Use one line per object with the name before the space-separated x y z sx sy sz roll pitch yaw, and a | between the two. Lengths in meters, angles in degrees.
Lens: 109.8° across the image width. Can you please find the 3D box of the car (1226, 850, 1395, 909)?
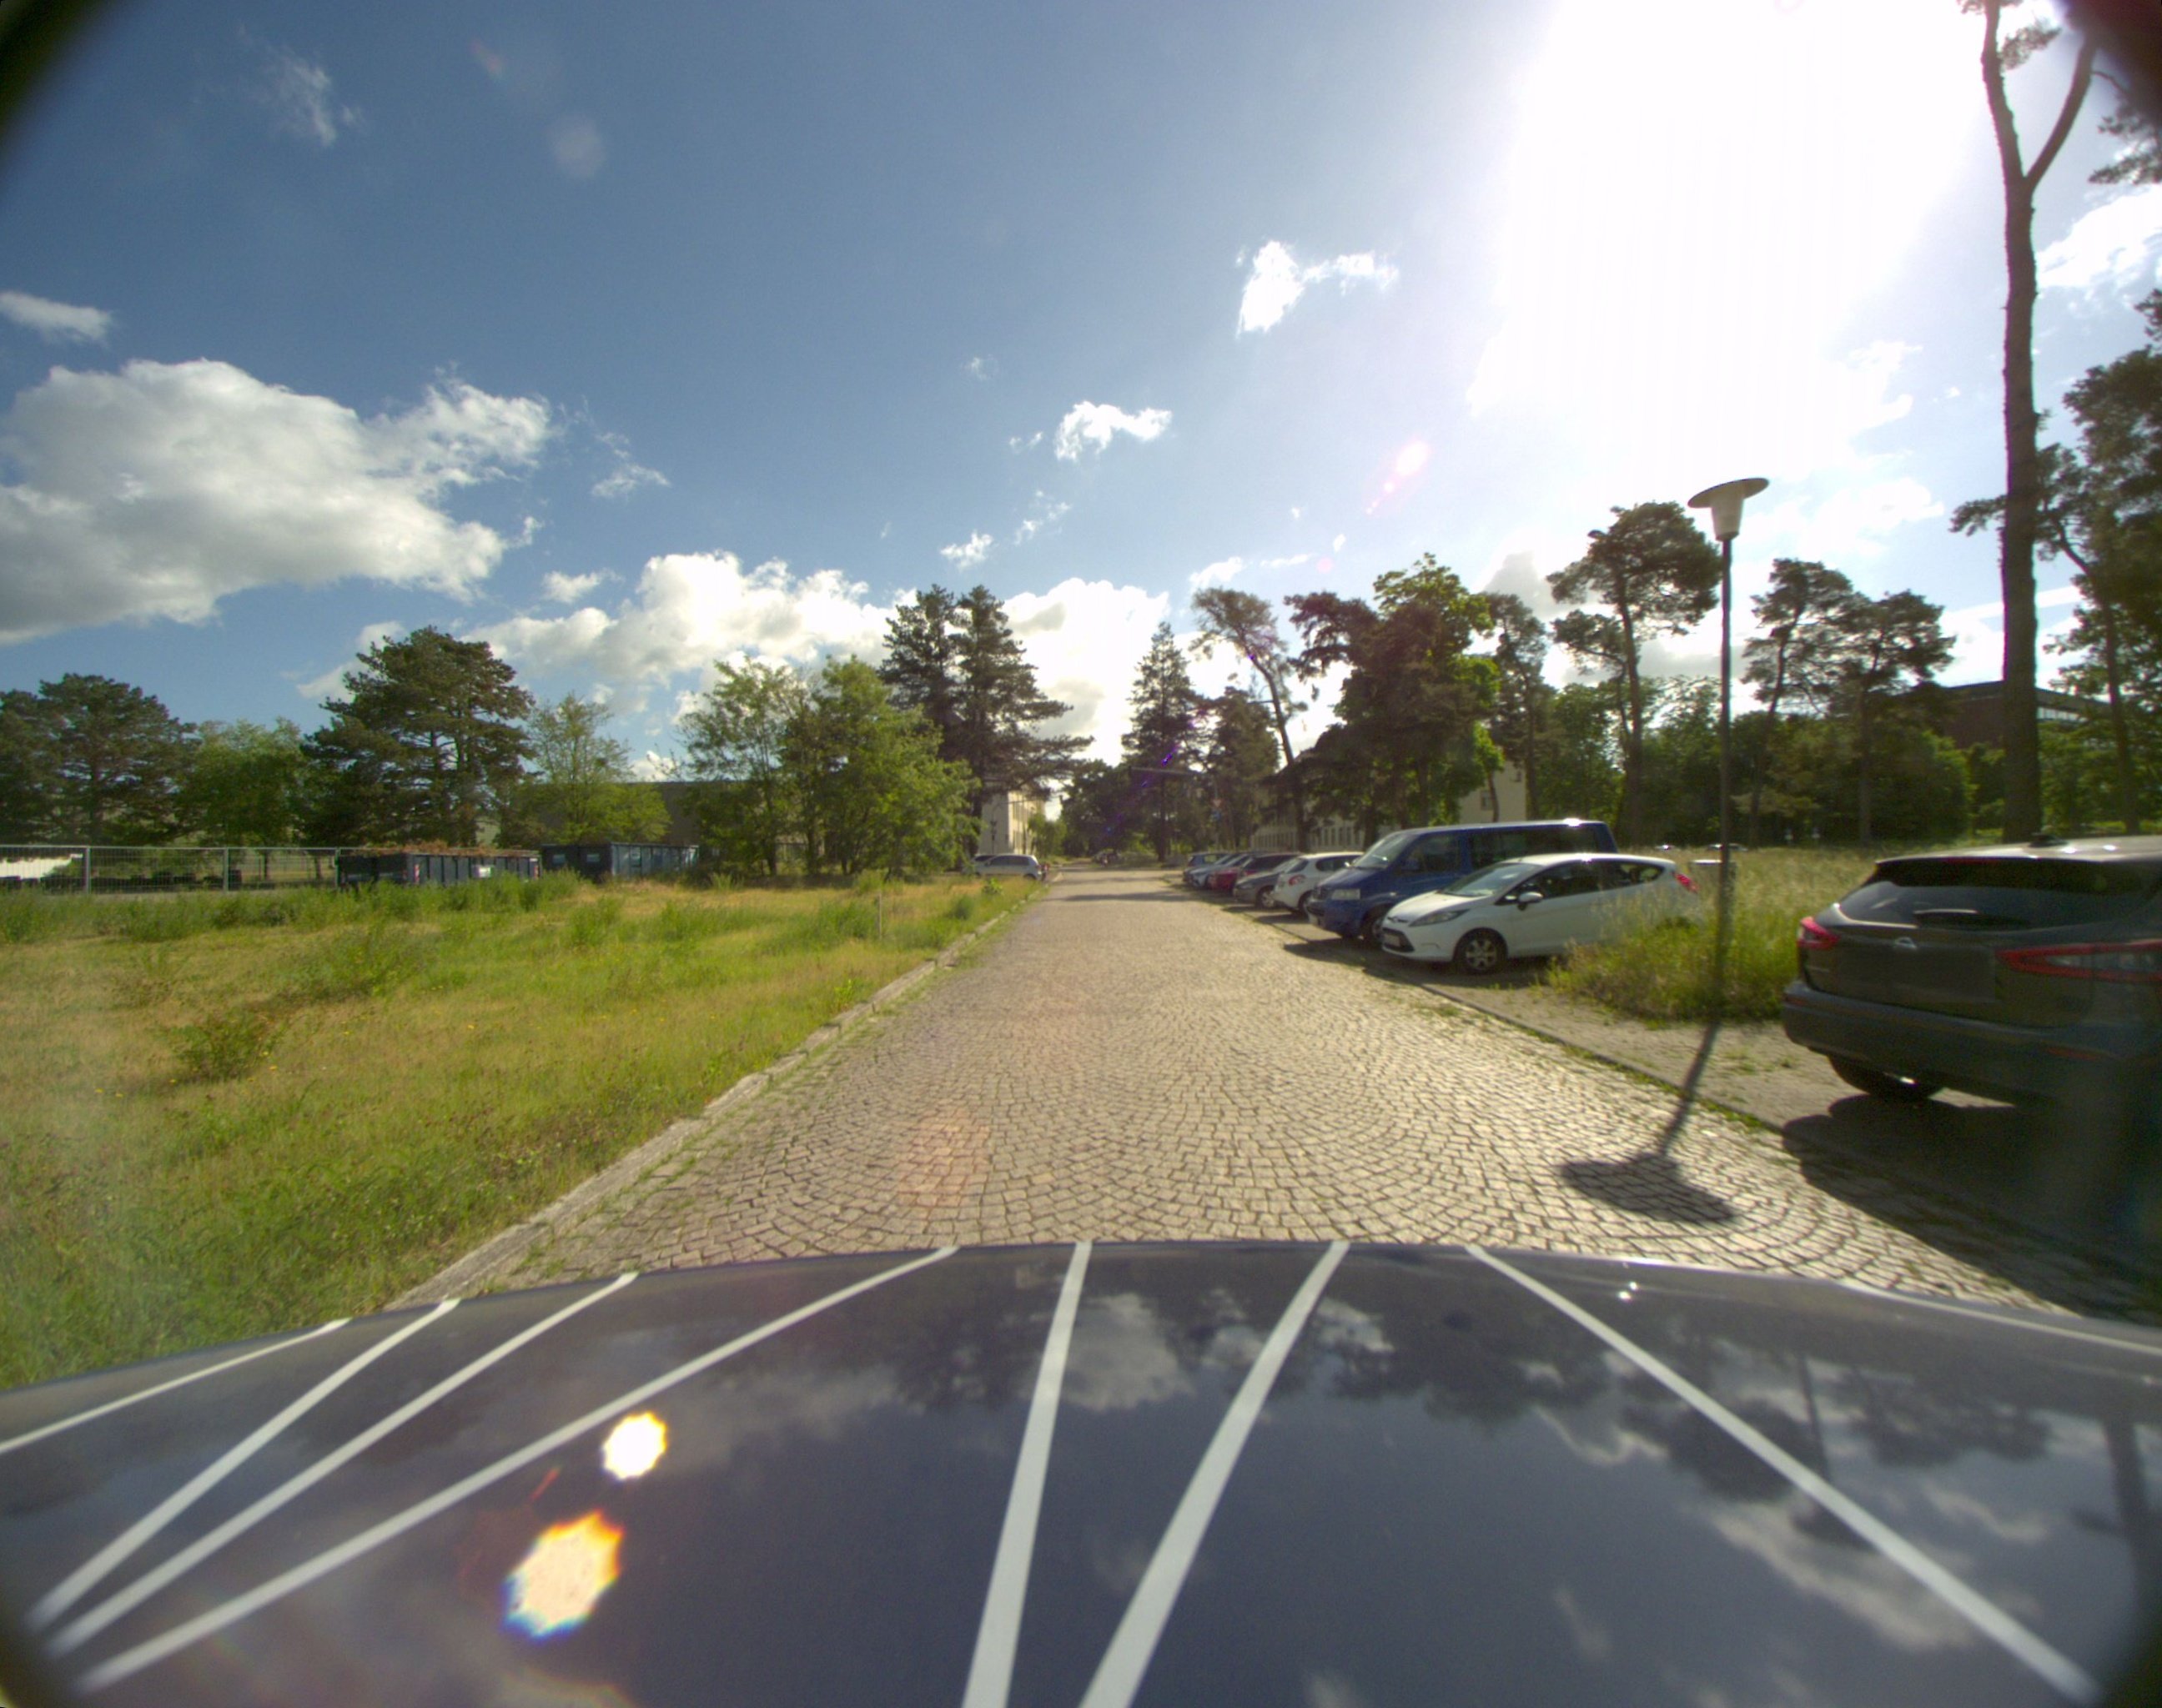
car | 6.239 0.665 21.017 4.086 1.417 1.923 -2 1 2

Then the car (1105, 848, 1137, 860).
car | 5.271 0.040 100.231 4.044 1.514 1.816 -1 1 -7

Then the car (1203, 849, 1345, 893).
car | 7.245 0.628 28.866 4.876 1.413 1.938 -2 1 1

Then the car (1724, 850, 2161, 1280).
car | 6.135 0.790 3.902 3.963 1.558 1.974 -3 0 0

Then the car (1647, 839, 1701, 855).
car | 60.692 -0.698 77.788 4.105 1.572 1.720 0 1 3

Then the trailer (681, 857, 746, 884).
trailer | -16.864 0.750 34.917 2.405 1.099 1.035 -2 1 -3

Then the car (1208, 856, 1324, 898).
car | 6.385 0.791 26.574 3.639 1.227 1.759 -2 2 2

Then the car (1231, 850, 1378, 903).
car | 6.941 0.681 23.891 4.086 1.444 1.821 -2 2 2

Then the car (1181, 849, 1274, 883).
car | 6.979 0.562 36.554 4.037 1.474 1.949 -2 0 -1

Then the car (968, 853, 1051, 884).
car | -3.577 0.709 38.608 4.015 1.433 1.844 2 0 -1

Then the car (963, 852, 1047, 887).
car | -3.547 0.696 35.848 3.750 1.468 1.751 2 1 -1

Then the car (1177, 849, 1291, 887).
car | 6.768 0.591 33.939 4.593 1.443 1.983 -2 1 -2

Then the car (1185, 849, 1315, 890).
car | 6.855 0.609 31.217 4.876 1.413 1.938 -2 2 1

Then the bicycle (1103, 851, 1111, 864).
bicycle | 2.842 0.374 82.076 0.621 1.342 2.114 -3 1 -3

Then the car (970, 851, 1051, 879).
car | -3.999 0.620 43.833 4.525 1.456 1.838 1 1 -2

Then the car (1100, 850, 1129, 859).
car | 4.964 0.066 111.974 4.044 1.356 1.817 -1 1 -6

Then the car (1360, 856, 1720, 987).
car | 6.010 0.834 10.241 3.826 1.432 1.682 -3 1 -2

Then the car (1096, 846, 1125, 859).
car | 4.608 -0.258 117.595 4.226 1.903 1.816 -1 1 -9

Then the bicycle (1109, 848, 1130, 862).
bicycle | 4.328 0.108 85.390 2.113 1.276 0.621 -6 1 -2

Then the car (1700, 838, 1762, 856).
car | 60.003 -0.656 70.204 4.055 1.620 1.841 0 1 3

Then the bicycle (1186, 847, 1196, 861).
bicycle | 10.513 0.008 72.723 0.621 1.276 2.114 -4 1 -1

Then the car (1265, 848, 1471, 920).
car | 6.724 0.677 18.124 4.206 1.466 1.824 -2 1 1

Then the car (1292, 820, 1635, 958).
car | 6.225 0.532 12.820 4.729 1.957 2.005 -2 1 1
